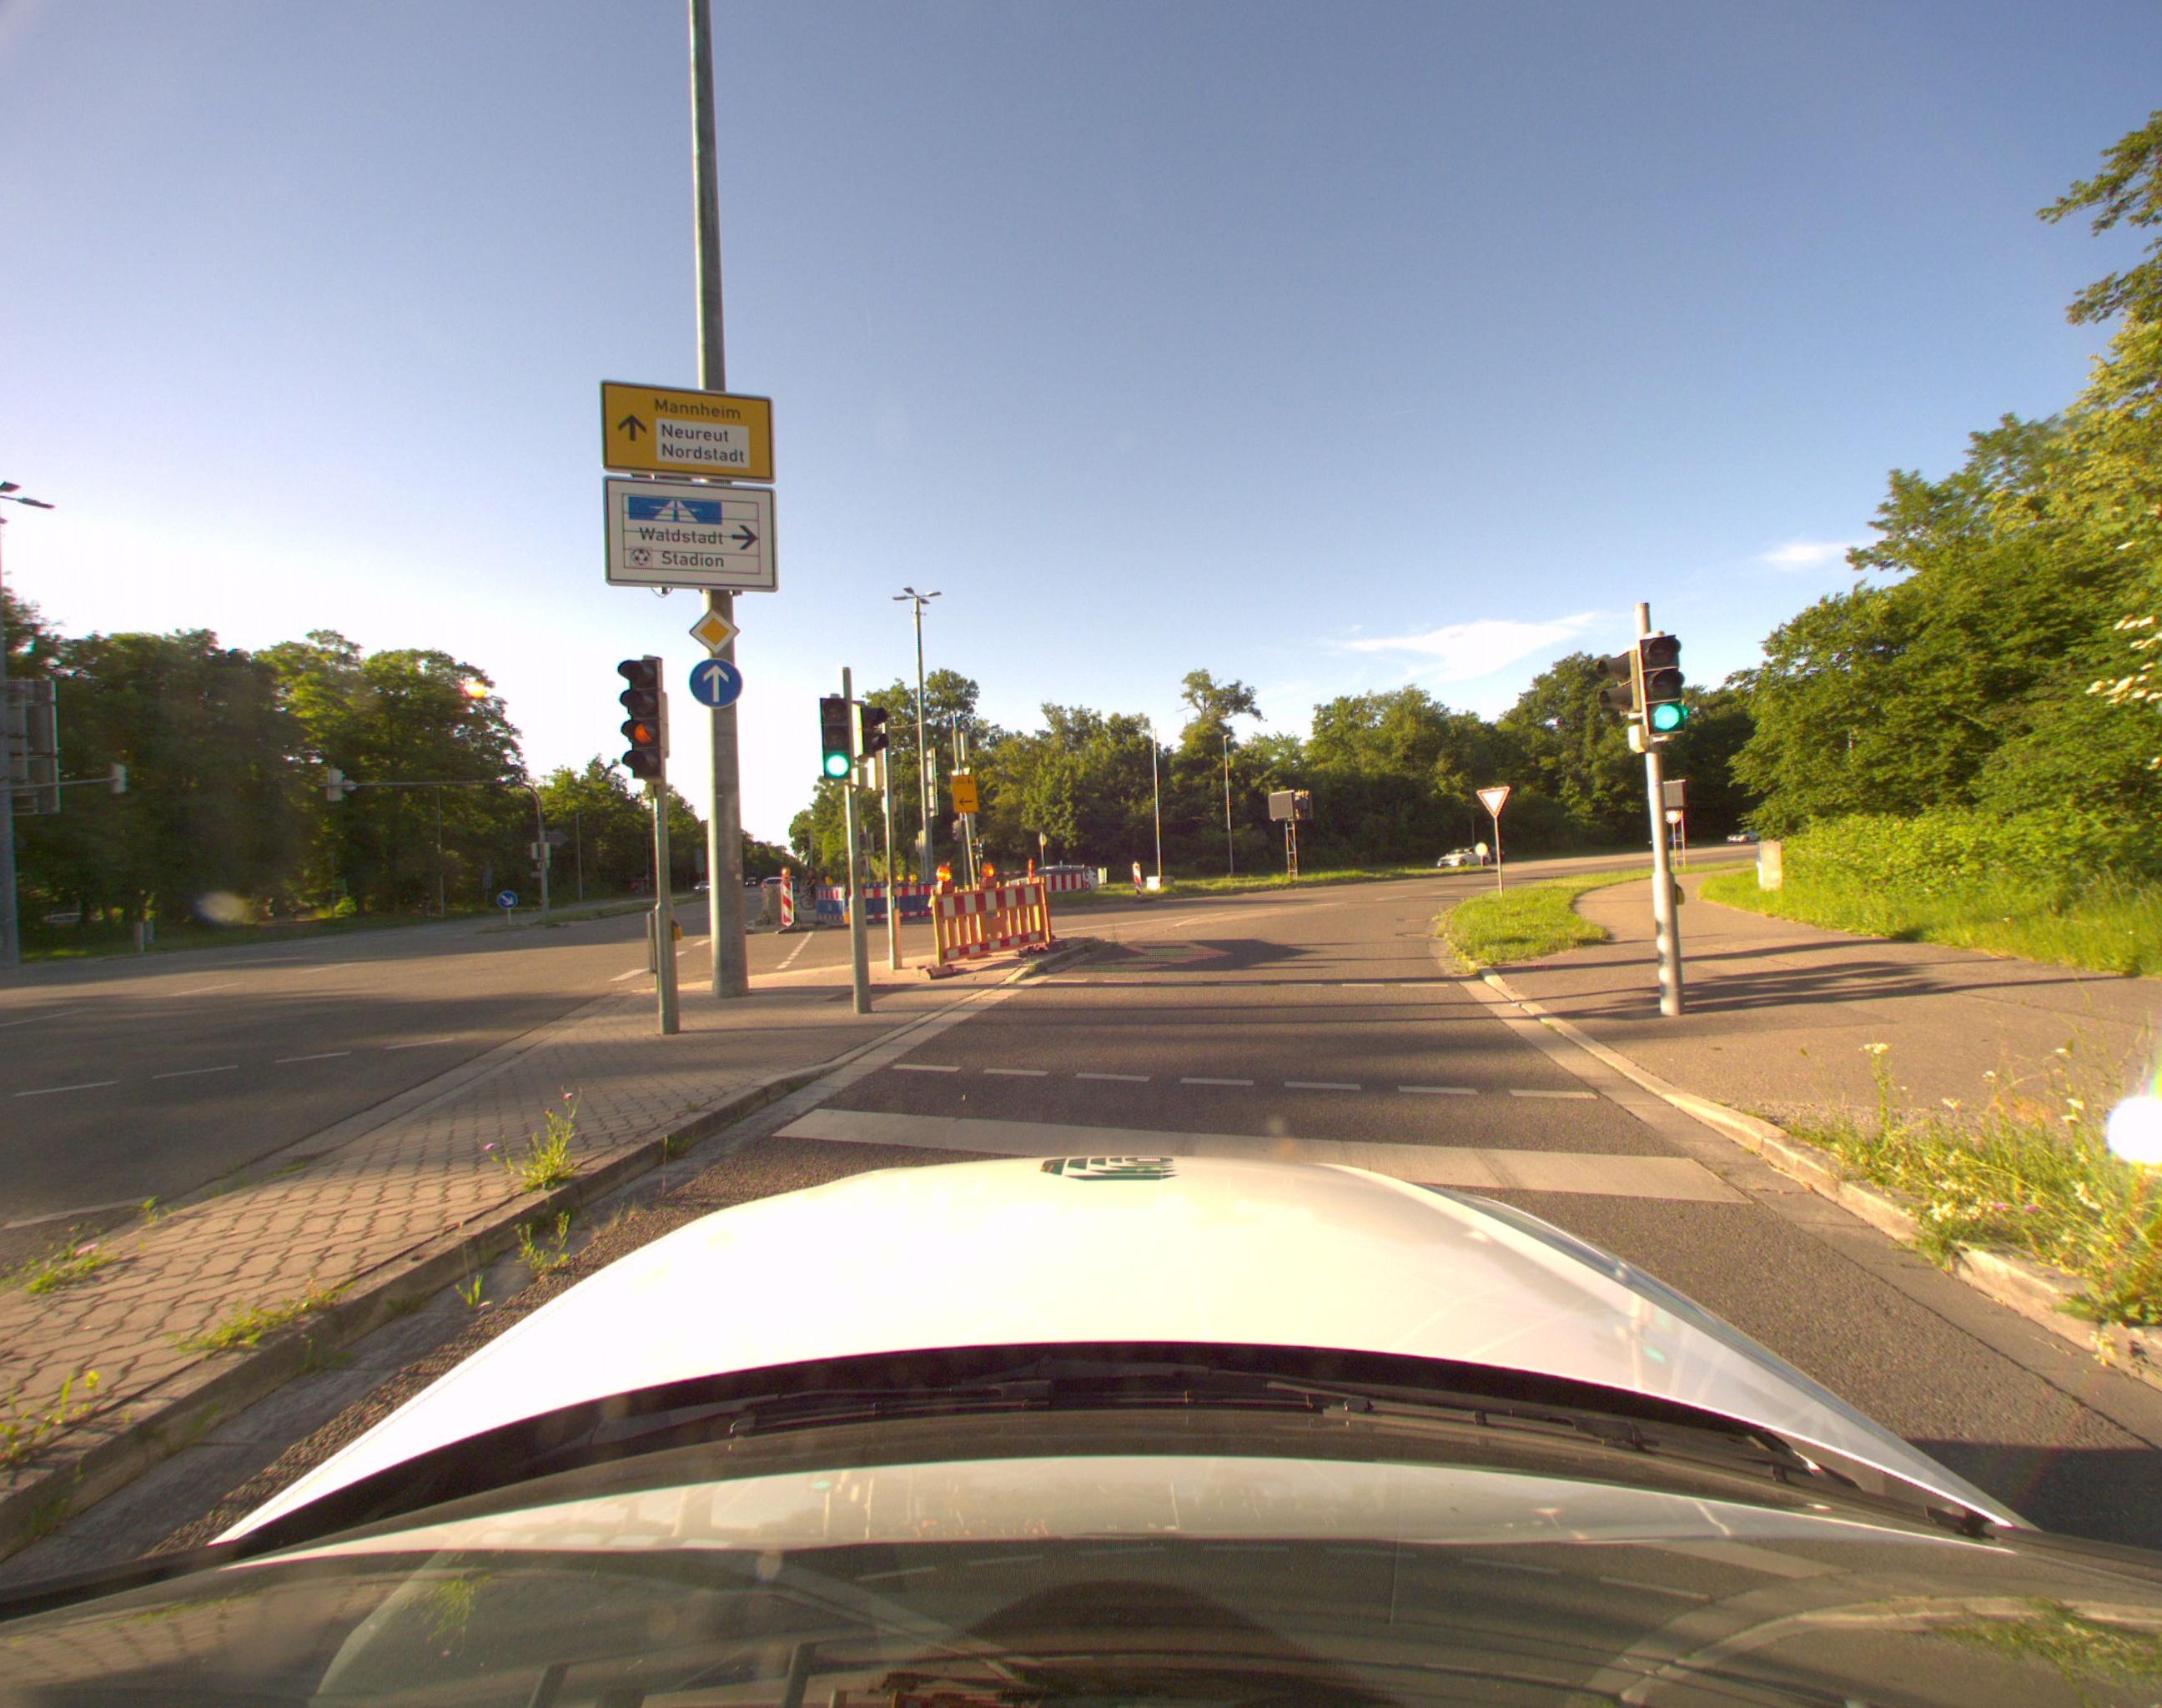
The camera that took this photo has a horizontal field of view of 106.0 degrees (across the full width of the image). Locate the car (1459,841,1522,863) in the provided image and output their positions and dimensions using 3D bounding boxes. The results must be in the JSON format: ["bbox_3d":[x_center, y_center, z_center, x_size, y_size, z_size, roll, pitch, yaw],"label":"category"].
[{"bbox_3d":[31.677,-0.128,62.897,4.822,1.436,1.981,-3,-1,-30],"label":"car"}]

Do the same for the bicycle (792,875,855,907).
[{"bbox_3d":[-12.010,1.721,38.058,0.956,1.383,2.656,-3,-1,43],"label":"bicycle"}]

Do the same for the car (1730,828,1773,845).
[{"bbox_3d":[72.225,-1.900,87.694,4.666,1.529,1.980,-3,-1,-30],"label":"car"}]

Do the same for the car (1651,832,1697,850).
[{"bbox_3d":[58.339,-1.260,80.084,4.668,1.529,1.980,-2,-1,-32],"label":"car"}]

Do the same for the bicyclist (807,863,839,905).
[{"bbox_3d":[-12.052,1.405,38.040,0.956,1.930,1.022,-3,-1,43],"label":"bicyclist"}]

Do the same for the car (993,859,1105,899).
[{"bbox_3d":[-1.423,1.128,37.578,4.856,1.580,1.977,-2,-1,-37],"label":"car"}]

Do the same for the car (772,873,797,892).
[{"bbox_3d":[-26.917,2.584,73.916,2.000,1.536,3.974,-3,-1,-19],"label":"car"}]

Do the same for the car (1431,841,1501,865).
[{"bbox_3d":[26.905,-0.060,56.926,4.822,1.436,1.981,-3,-1,-30],"label":"car"}]

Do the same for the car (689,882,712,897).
[{"bbox_3d":[-48.475,4.494,103.888,1.998,1.789,4.224,-3,-1,-17],"label":"car"}]

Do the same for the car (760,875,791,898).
[{"bbox_3d":[-21.641,2.291,57.797,1.946,1.414,3.974,-3,-1,-19],"label":"car"}]

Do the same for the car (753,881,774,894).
[{"bbox_3d":[-38.342,4.035,98.421,1.867,1.444,3.979,-2,-1,-15],"label":"car"}]
